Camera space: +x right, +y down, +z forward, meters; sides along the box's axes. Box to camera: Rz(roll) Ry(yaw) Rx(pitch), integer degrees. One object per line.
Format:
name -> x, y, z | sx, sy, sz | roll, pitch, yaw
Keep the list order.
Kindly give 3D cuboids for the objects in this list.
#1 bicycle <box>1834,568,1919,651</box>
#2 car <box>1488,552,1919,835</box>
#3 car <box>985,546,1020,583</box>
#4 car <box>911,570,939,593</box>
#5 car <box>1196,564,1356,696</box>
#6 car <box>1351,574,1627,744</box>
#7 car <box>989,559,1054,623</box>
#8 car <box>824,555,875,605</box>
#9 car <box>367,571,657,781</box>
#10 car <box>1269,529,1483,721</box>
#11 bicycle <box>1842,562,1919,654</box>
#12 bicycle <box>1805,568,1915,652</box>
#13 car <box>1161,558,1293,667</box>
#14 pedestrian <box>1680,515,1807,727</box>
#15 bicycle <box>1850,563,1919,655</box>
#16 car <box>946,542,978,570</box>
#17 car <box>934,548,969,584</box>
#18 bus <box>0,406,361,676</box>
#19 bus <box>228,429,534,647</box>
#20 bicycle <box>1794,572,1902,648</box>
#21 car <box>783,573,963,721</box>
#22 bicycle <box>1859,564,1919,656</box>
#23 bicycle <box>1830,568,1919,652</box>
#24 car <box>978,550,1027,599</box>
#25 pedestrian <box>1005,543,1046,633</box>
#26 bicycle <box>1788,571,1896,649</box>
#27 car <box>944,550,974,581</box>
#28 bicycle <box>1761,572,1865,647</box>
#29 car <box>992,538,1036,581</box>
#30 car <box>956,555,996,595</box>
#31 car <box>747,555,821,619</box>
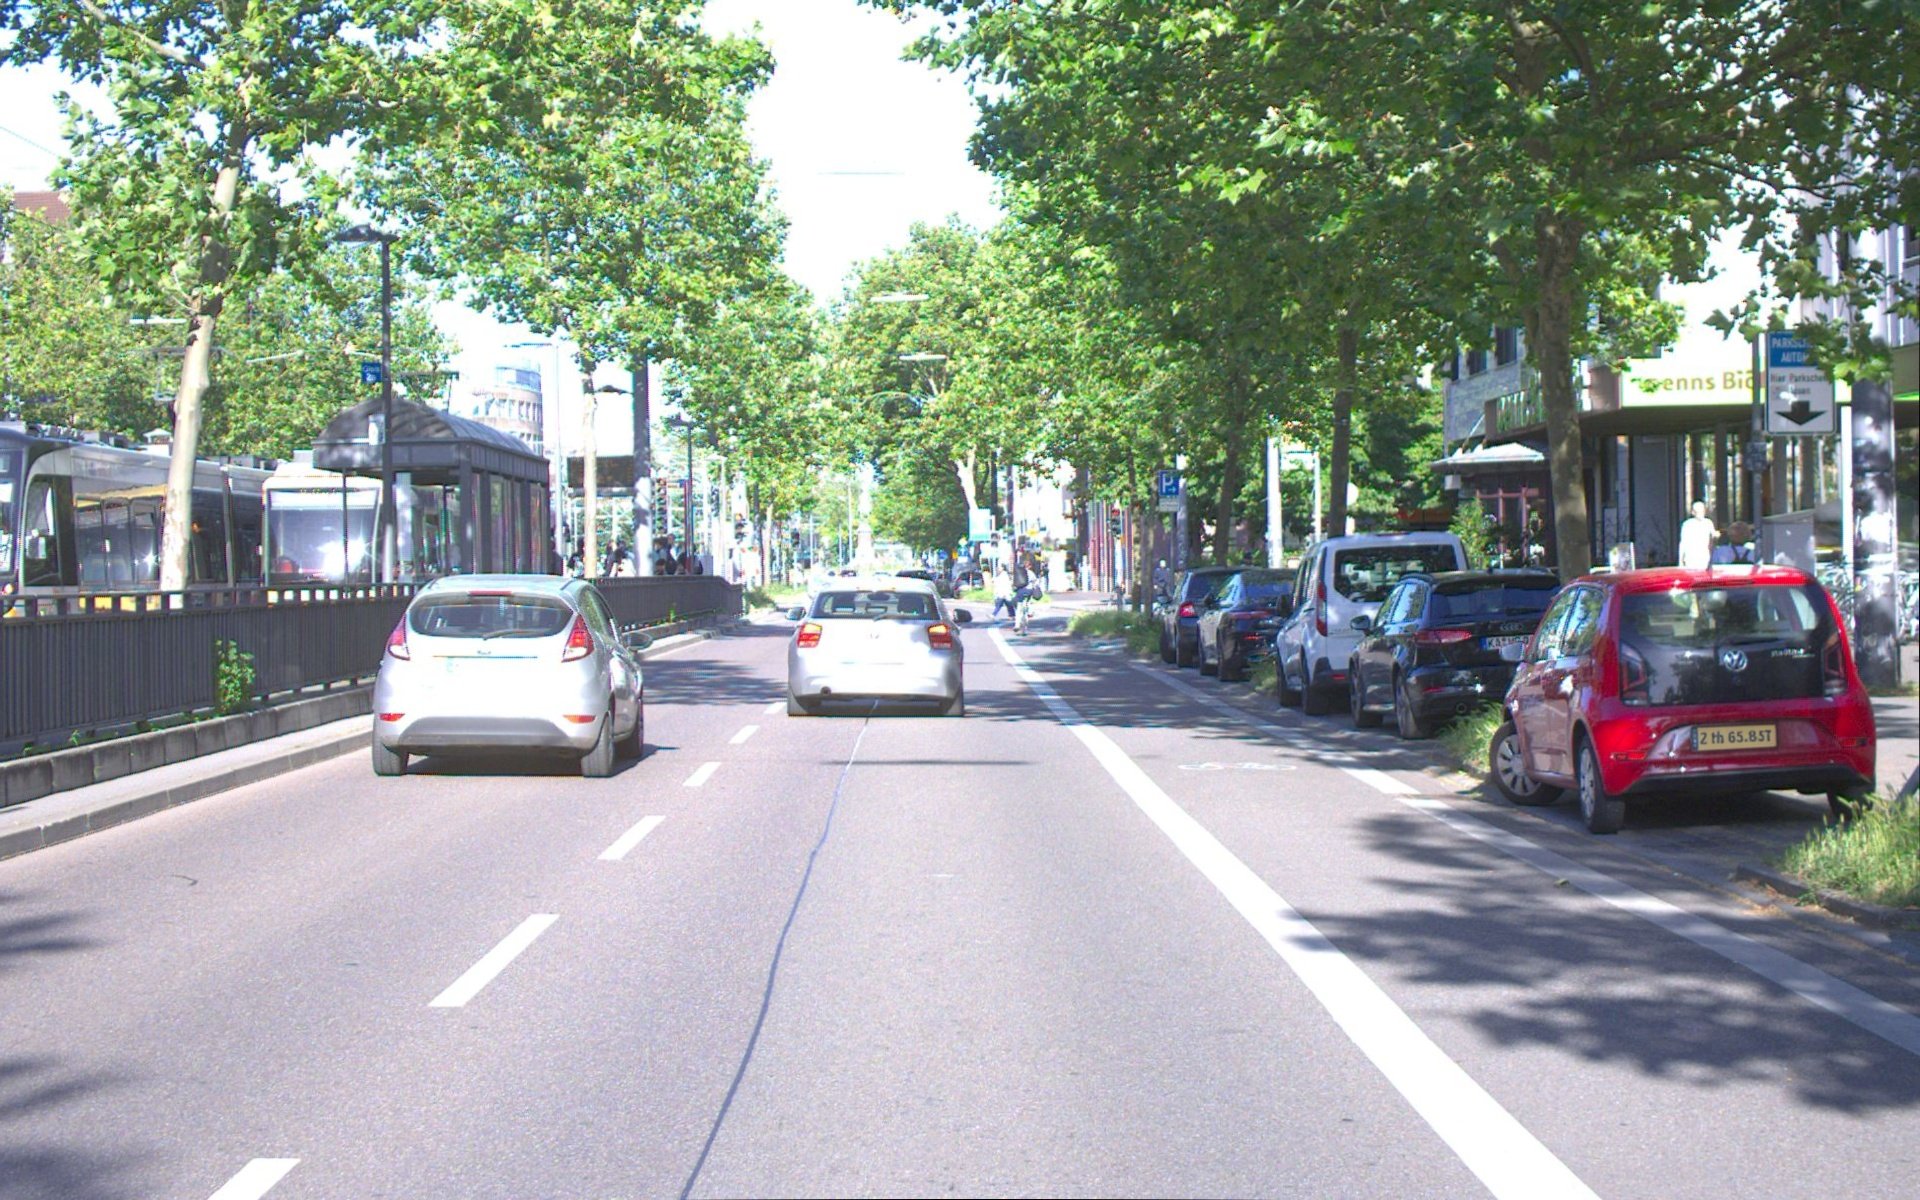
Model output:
bicycle -> 11.982, 0.123, 44.242 | 1.383, 1.052, 0.243 | 1, 1, -1
car -> 4.415, 0.494, 20.789 | 1.806, 1.515, 4.000 | 1, 0, 0
car -> 2.388, -2.016, 192.766 | 1.875, 2.007, 3.711 | 1, 1, 0
car -> -2.613, -1.389, 257.409 | 1.993, 1.582, 4.000 | 1, 1, 0
car -> 4.108, 0.357, 45.186 | 1.711, 1.557, 4.000 | 1, 1, 0
car -> 4.578, 0.470, 30.273 | 1.781, 1.376, 4.000 | 1, 0, 0
car -> 1.798, -0.285, 101.644 | 1.809, 1.785, 3.911 | 1, 1, 0
car -> -4.675, -0.850, 145.556 | 1.993, 2.007, 4.000 | 1, 1, 0
car -> -3.255, 0.509, 25.577 | 1.646, 1.358, 3.760 | 1, 1, 0
car -> 4.302, 0.216, 36.040 | 1.724, 1.874, 4.000 | 1, 1, 0
bicycle -> 11.997, 0.104, 43.913 | 1.383, 1.144, 0.243 | 1, 1, -1
bicycle -> 12.050, 0.131, 46.051 | 1.383, 1.094, 0.243 | 1, 1, -1
car -> 4.043, 0.167, 52.507 | 1.700, 1.529, 3.717 | 1, 1, 0
pedestrian -> 7.571, 0.196, 33.272 | 0.963, 2.007, 0.938 | -2, 0, 0
bicycle -> 12.024, 0.118, 43.592 | 1.383, 1.144, 0.243 | 1, 1, -1
car -> 0.140, -2.802, 218.618 | 1.993, 1.692, 4.000 | 0, 1, 0
car -> -0.494, -1.958, 197.506 | 1.993, 2.007, 4.000 | 1, 1, 0
bus -> -13.790, -1.050, 58.531 | 2.869, 3.616, 24.605 | -1, 1, 0
bus -> -10.848, -1.246, 66.926 | 2.750, 3.613, 18.848 | -1, 1, 0
bicycle -> 11.999, 0.134, 46.469 | 1.383, 1.009, 0.243 | 1, 1, -1
car -> -0.887, 0.448, 35.718 | 1.762, 1.427, 4.000 | 0, 1, -1
bicycle -> 12.050, 0.131, 43.249 | 1.383, 1.144, 0.243 | 1, 1, -1
bicycle -> 12.007, 0.132, 44.551 | 1.383, 1.055, 0.243 | 1, 1, -1
car -> 1.804, -1.097, 146.982 | 1.993, 2.007, 4.000 | 1, 1, 0
pedestrian -> 1.485, -0.275, 78.223 | 0.838, 2.007, 0.648 | 1, 1, 7
bicycle -> 11.996, 0.135, 46.746 | 1.383, 1.020, 0.243 | 1, 1, -1
car -> -0.080, -2.325, 232.793 | 1.993, 2.007, 4.000 | 1, 1, 0
bicycle -> 11.942, 0.136, 48.138 | 1.383, 1.024, 0.243 | 1, 1, -1
car -> 2.659, -2.019, 169.727 | 1.993, 2.007, 4.000 | 1, 1, -1
car -> 0.843, -1.330, 181.899 | 2.071, 2.007, 4.000 | -2, 1, 0
car -> -5.267, -0.415, 103.475 | 1.993, 1.810, 4.000 | 1, 1, 0
